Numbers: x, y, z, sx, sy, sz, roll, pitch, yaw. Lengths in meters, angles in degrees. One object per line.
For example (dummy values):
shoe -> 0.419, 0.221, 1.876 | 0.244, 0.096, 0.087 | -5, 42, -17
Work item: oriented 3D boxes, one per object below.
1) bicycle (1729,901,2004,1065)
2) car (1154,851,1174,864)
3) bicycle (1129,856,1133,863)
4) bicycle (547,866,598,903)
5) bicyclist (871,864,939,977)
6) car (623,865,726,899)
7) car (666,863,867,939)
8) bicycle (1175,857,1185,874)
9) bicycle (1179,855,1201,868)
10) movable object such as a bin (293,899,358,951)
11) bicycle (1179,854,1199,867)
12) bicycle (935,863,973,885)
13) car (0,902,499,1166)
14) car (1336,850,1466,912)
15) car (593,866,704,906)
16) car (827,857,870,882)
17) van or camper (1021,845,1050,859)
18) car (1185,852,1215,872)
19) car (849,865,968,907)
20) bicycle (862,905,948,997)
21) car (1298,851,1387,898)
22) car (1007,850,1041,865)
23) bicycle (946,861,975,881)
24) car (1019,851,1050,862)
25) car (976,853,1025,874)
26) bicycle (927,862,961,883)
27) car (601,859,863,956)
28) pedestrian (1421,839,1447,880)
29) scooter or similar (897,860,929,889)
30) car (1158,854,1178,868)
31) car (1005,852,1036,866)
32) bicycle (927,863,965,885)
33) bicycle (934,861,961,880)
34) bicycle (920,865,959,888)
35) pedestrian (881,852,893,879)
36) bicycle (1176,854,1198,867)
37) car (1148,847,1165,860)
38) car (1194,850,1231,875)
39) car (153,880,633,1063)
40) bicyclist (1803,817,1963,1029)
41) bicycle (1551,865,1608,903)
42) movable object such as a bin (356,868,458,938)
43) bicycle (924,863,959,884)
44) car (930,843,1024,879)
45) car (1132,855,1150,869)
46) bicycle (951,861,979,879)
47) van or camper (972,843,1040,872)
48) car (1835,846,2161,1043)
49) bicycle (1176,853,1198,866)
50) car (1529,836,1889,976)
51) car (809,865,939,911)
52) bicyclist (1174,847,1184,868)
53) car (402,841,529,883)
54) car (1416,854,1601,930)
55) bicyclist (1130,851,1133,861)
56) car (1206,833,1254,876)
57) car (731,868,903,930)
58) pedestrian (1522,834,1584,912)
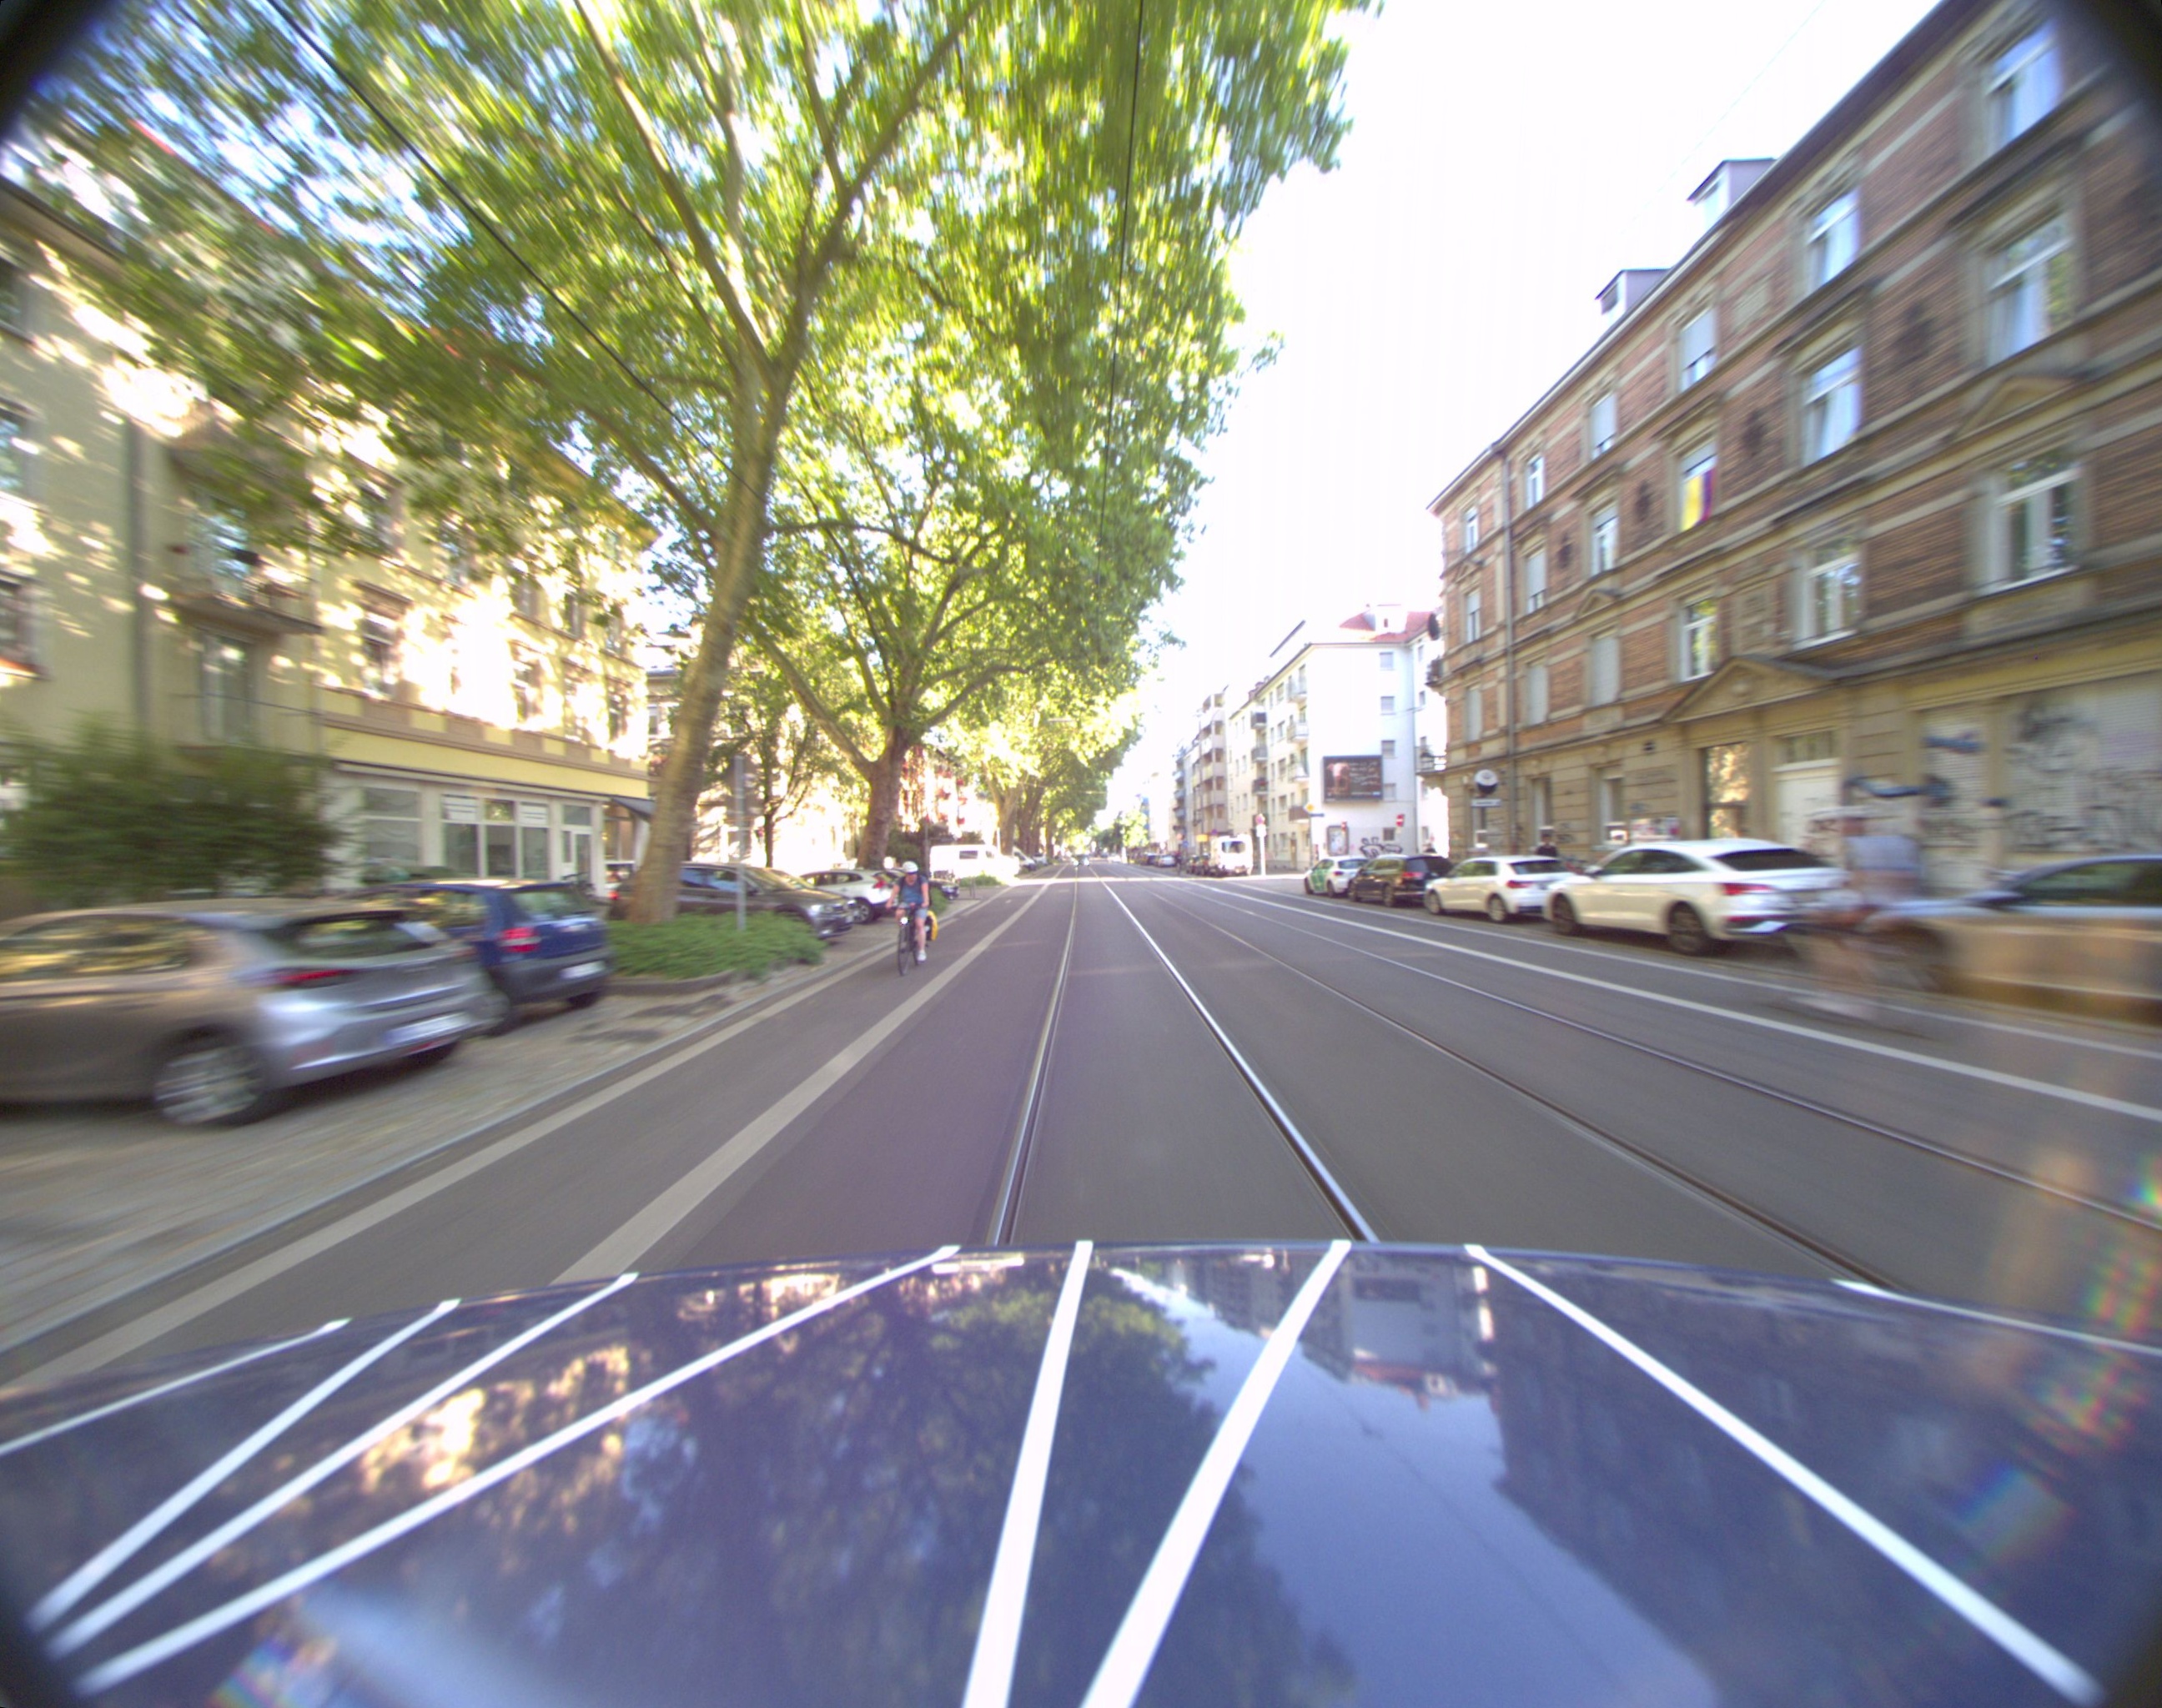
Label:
bicycle -> 6.602, 1.015, 6.548 | 0.482, 1.079, 1.846 | -1, 0, 1
car -> 9.678, 0.386, 88.708 | 1.798, 1.482, 4.240 | -1, 0, -1
bicycle -> 7.365, 0.796, 111.608 | 0.418, 1.012, 1.946 | 0, 1, 0
bicycle -> -16.414, 0.964, 24.578 | 0.471, 1.149, 1.746 | 0, 0, 0
bicyclist -> -2.599, 0.954, 11.298 | 0.615, 1.543, 0.935 | -6, 1, 0
car -> -18.361, 1.273, 34.425 | 3.687, 1.403, 1.691 | -2, -2, -4
car -> -7.336, 1.076, 18.024 | 4.038, 1.634, 1.681 | -1, 0, -2
bicycle -> 7.222, 0.815, 55.368 | 0.422, 1.144, 2.231 | -1, 1, -1
bicycle -> 9.680, 0.662, 67.710 | 1.897, 1.032, 0.402 | -3, 1, 7
movable object such as a bin -> -14.149, 1.327, 14.241 | 0.749, 0.938, 0.465 | 0, 1, 0
bicycle -> 9.820, 0.578, 69.063 | 1.792, 1.112, 0.425 | -3, 1, 7
bicycle -> -7.115, 1.128, 42.537 | 2.046, 1.172, 0.413 | -2, 2, 9
car -> -6.693, 1.163, 5.524 | 3.604, 1.509, 1.693 | 0, 0, 0
car -> 9.362, 0.712, 22.734 | 1.745, 1.553, 4.785 | -3, 0, -1
car -> -19.990, 1.467, 35.223 | 3.995, 1.590, 1.853 | -1, 3, 4
car -> -14.240, 0.900, 46.767 | 1.737, 1.447, 3.569 | 0, 0, -3
van or camper -> -7.001, -0.357, 116.855 | 4.389, 2.097, 1.837 | -1, 1, -4
car -> 9.227, 0.600, 59.357 | 1.722, 1.448, 4.572 | -2, 0, 2
car -> -6.730, 1.223, 29.847 | 4.103, 1.483, 1.832 | -1, 0, 9
bicycle -> -2.544, 1.362, 11.290 | 0.596, 0.998, 2.511 | -4, 0, 0
car -> 9.451, 0.692, 27.796 | 1.745, 1.483, 4.044 | -3, 1, -1
car -> -7.052, 0.384, 94.502 | 4.004, 1.734, 1.805 | -1, 0, 0
bicycle -> -7.400, 1.062, 46.497 | 2.043, 1.172, 0.414 | -1, 2, 37
car -> -6.430, 0.351, 105.600 | 4.206, 1.473, 1.911 | -1, 1, 1
car -> -6.711, 0.771, 63.533 | 3.966, 1.646, 1.795 | -1, 1, -3
bicycle -> -8.181, 1.116, 45.447 | 2.044, 1.172, 0.414 | -1, 2, 21
car -> -6.694, 0.999, 14.931 | 4.273, 1.709, 1.848 | 1, 0, -2
pedestrian -> 15.268, 0.253, 32.869 | 0.658, 1.738, 0.894 | -3, -1, 4
scooter or similar -> -7.404, 0.914, 33.486 | 1.309, 1.248, 0.341 | -1, 1, 14
car -> 9.605, 0.732, 83.883 | 1.694, 1.482, 4.728 | -1, 0, 1
car -> -7.373, 0.596, 92.401 | 3.618, 1.486, 1.660 | -1, 1, -2
bicycle -> -7.640, 1.136, 43.100 | 2.046, 1.172, 0.413 | -2, 2, 9
bicycle -> -8.474, 1.061, 48.163 | 2.043, 1.172, 0.414 | -1, 2, 37
bicycle -> -7.724, 1.241, 41.421 | 2.046, 1.172, 0.413 | -2, 2, 9
pedestrian -> -12.088, 0.731, 47.337 | 0.594, 1.642, 0.707 | -2, 2, -26
bicycle -> 9.906, 0.561, 70.761 | 1.965, 1.112, 0.440 | -3, 1, 7
car -> 9.861, -0.047, 99.587 | 1.660, 1.591, 4.201 | -3, 0, -1
car -> 9.249, 0.557, 53.566 | 1.723, 1.622, 4.346 | -2, 0, -1
car -> -7.021, 1.155, 8.020 | 3.604, 1.590, 1.540 | -1, 1, 1
bicyclist -> 6.571, 0.531, 6.264 | 0.474, 1.626, 0.800 | -1, 1, 1
bicycle -> 14.455, 0.842, 22.079 | 0.373, 1.028, 1.848 | -1, 0, -3
movable object such as a bin -> -14.335, 1.018, 16.202 | 1.170, 1.429, 1.117 | 0, 1, 0
bicycle -> -8.101, 1.111, 44.075 | 2.044, 1.172, 0.414 | -1, 2, 21
car -> -6.996, 0.471, 51.501 | 6.006, 2.269, 2.006 | -1, 0, 2
car -> 8.102, 1.081, 102.268 | 1.784, 1.728, 4.488 | -3, 0, -2
bicycle -> -7.494, 1.028, 49.063 | 2.043, 1.172, 0.414 | -1, 2, 37
van or camper -> -6.862, 0.287, 70.094 | 6.048, 2.476, 2.107 | -1, 1, -1
car -> 9.484, 0.726, 6.624 | 1.667, 1.512, 4.063 | -3, 1, -2
bicycle -> 9.926, 0.556, 71.276 | 1.935, 1.112, 0.440 | -3, 1, 7
car -> 9.438, 0.651, 12.087 | 1.791, 1.713, 4.718 | -3, 1, 0
car -> -7.364, 1.205, 27.233 | 4.104, 1.483, 1.682 | -1, 1, 6
bicyclist -> 7.165, 0.249, 55.545 | 0.584, 1.473, 0.807 | -1, 1, 0
car -> -26.576, 0.370, 32.894 | 4.141, 1.648, 1.655 | -2, -1, 1
car -> 9.466, 0.762, 17.231 | 1.704, 1.412, 3.998 | -3, 1, -4
bicyclist -> 7.399, 0.324, 111.401 | 0.510, 1.386, 0.709 | 0, 1, 0
car -> 9.383, -0.014, 48.301 | 2.070, 2.521, 5.667 | -2, 0, 2
car -> -6.949, 1.165, 20.338 | 4.039, 1.471, 1.680 | -1, 0, -5
pedestrian -> 11.394, 0.448, 18.364 | 0.686, 1.790, 1.056 | -3, 1, -9
